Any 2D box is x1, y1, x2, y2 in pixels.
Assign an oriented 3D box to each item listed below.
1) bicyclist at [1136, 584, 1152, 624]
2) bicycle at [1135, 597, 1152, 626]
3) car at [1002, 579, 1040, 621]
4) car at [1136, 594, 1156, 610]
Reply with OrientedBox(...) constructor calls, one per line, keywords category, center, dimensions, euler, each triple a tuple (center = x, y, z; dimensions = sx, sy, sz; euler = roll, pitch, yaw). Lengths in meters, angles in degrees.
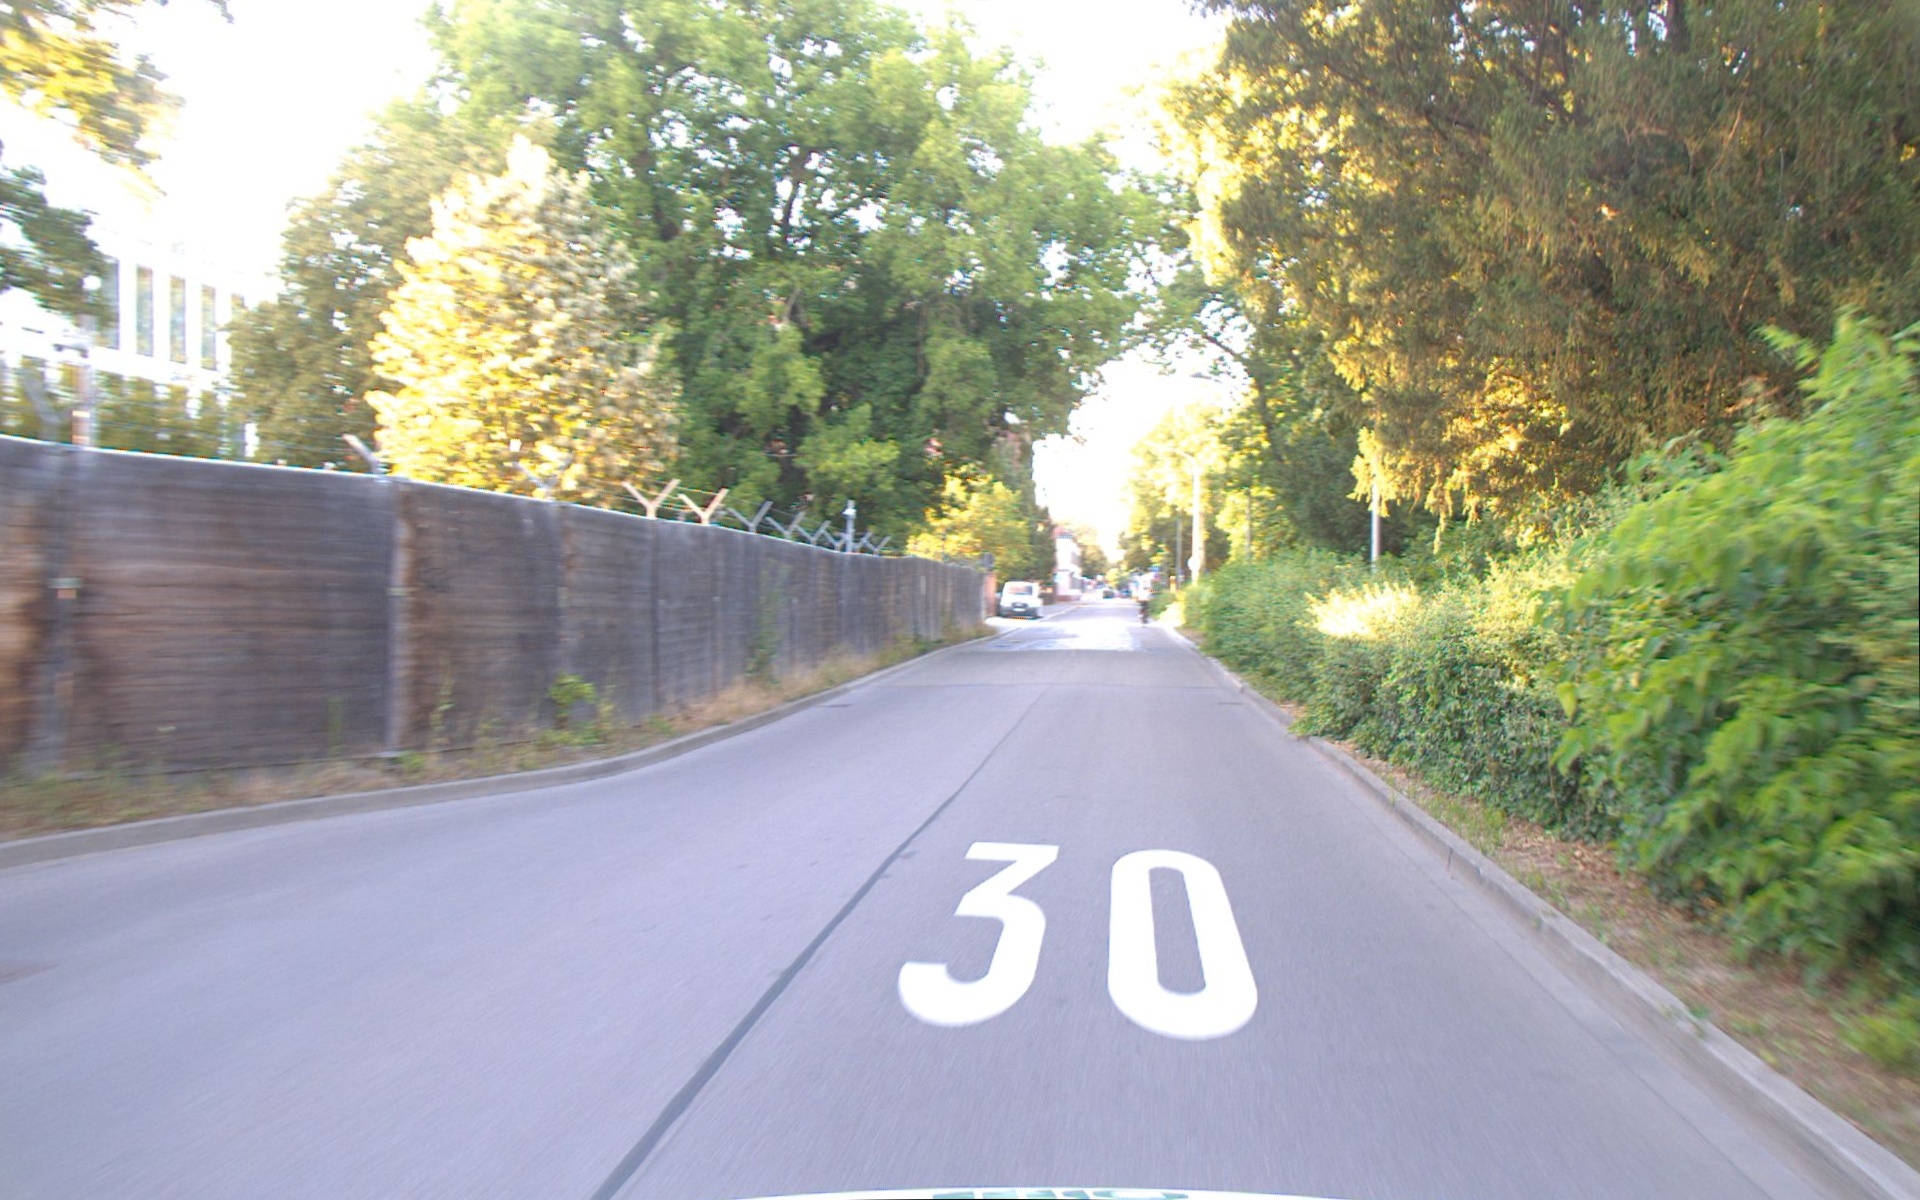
OrientedBox(category="bicyclist", center=(7.925, 0.175, 71.321), dimensions=(0.625, 1.696, 0.843), euler=(1, 0, 4))
OrientedBox(category="bicycle", center=(7.913, 0.507, 71.206), dimensions=(0.625, 1.214, 1.877), euler=(1, 0, 4))
OrientedBox(category="car", center=(3.276, 0.035, 87.923), dimensions=(1.843, 2.049, 5.228), euler=(2, -1, 4))
OrientedBox(category="car", center=(17.972, 0.195, 159.864), dimensions=(1.679, 1.564, 4.050), euler=(0, 0, 4))
